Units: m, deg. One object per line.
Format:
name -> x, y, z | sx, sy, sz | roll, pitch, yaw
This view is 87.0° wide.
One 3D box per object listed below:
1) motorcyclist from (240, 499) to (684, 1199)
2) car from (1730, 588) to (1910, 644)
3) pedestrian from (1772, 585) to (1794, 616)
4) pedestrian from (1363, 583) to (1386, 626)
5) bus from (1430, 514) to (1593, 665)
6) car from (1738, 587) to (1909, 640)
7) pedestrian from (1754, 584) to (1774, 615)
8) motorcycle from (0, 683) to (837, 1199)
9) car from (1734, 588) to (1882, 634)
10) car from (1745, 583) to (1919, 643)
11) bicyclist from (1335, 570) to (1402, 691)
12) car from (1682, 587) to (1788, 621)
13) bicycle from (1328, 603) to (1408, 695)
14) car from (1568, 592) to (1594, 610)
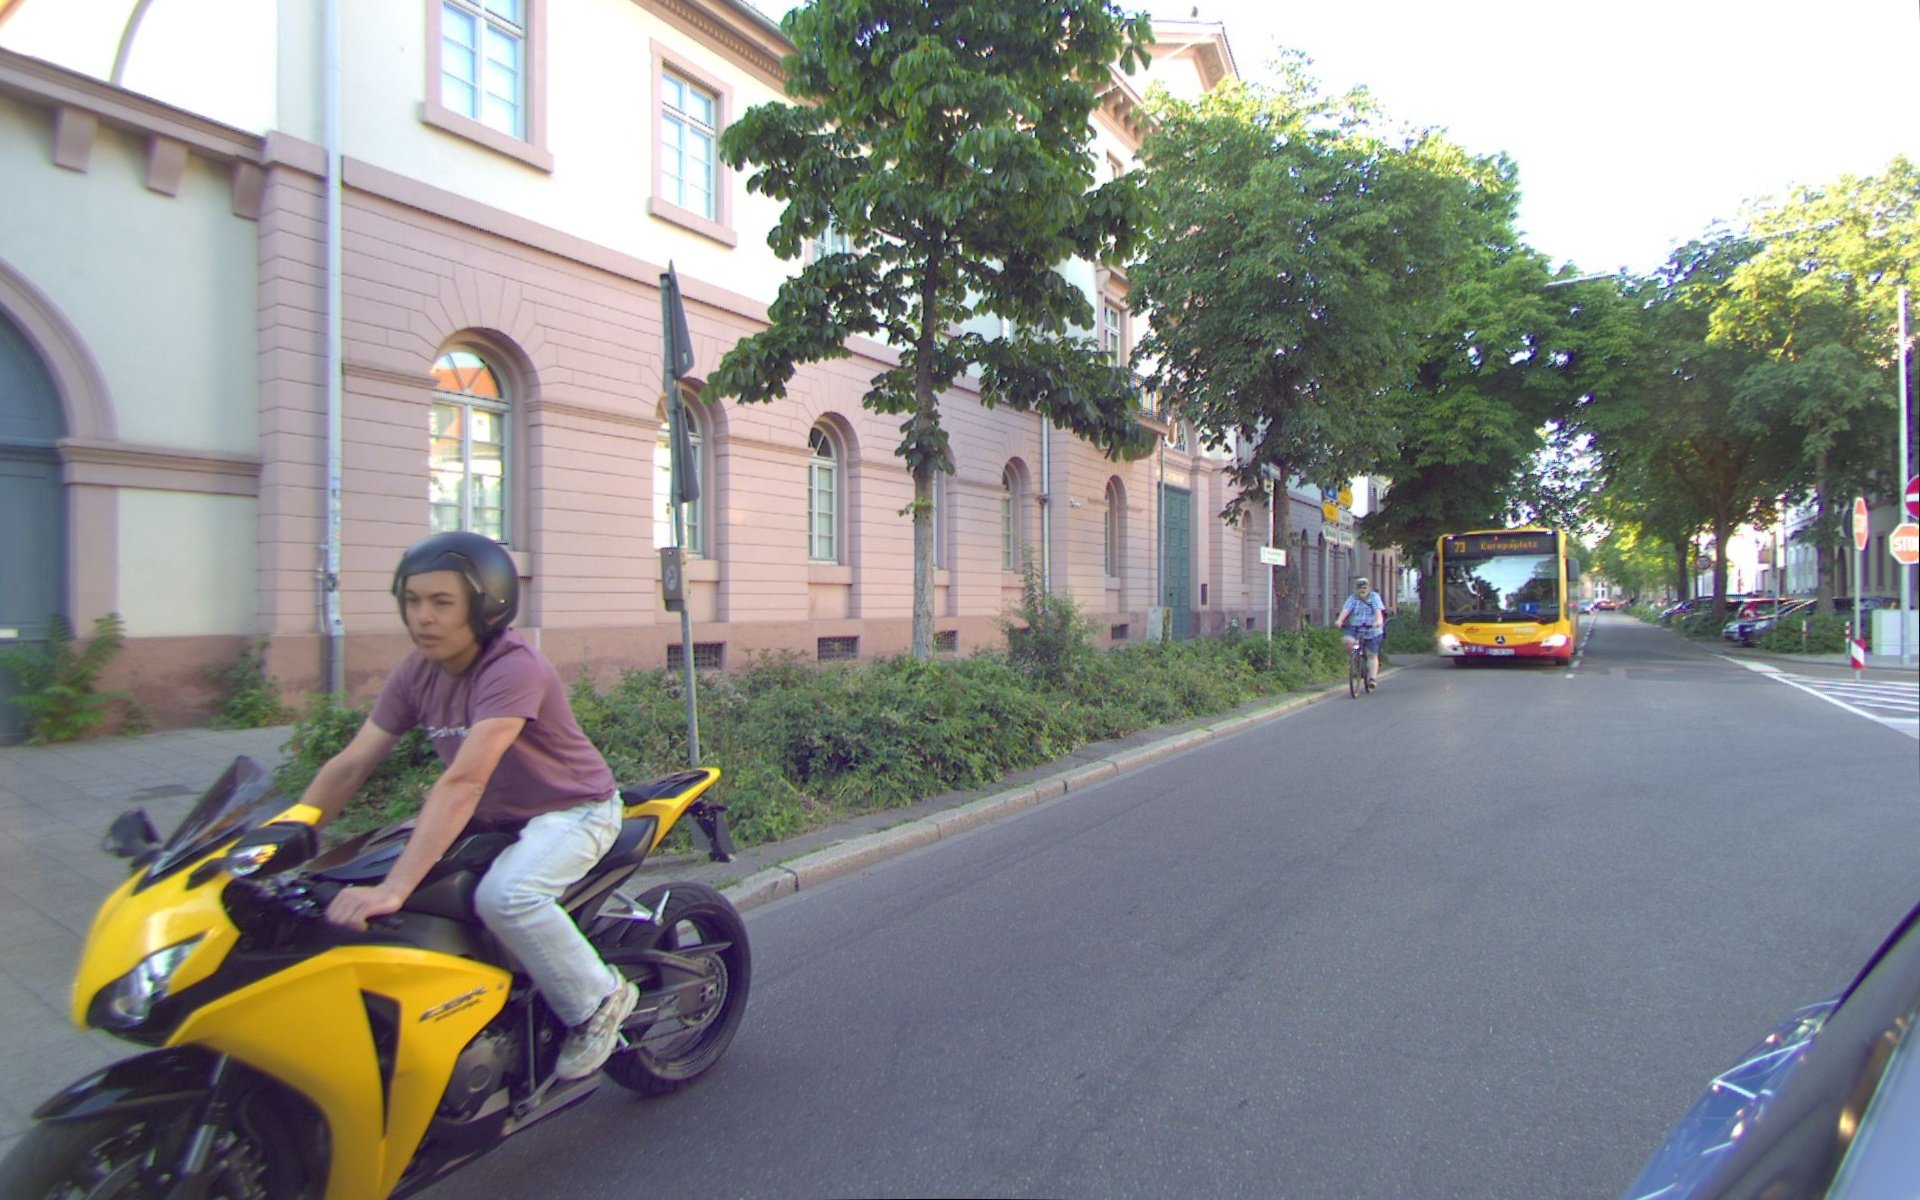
motorcyclist -> -1.250, 0.520, 2.579 | 0.787, 1.438, 0.691 | -2, -1, 30
car -> 26.375, 0.456, 31.215 | 3.969, 1.635, 1.704 | 0, 0, 32
pedestrian -> 48.291, 0.049, 59.387 | 0.888, 1.793, 1.010 | 0, 0, 32
pedestrian -> 18.418, 0.197, 44.962 | 0.794, 1.855, 0.919 | 0, 0, 31
bus -> 14.584, -0.196, 26.141 | 2.693, 3.039, 11.938 | -2, -1, 33
car -> 28.014, 0.417, 33.009 | 3.969, 1.635, 1.704 | 0, 0, 32
pedestrian -> 47.573, -0.015, 59.854 | 0.801, 1.793, 1.010 | 0, 0, 32
motorcycle -> -1.223, 0.882, 2.601 | 0.786, 1.175, 1.946 | -2, -1, 30
car -> 31.514, 0.387, 37.765 | 3.969, 1.635, 1.704 | 0, 0, 32
car -> 25.241, 0.355, 29.123 | 3.969, 1.635, 1.808 | 0, 0, 32
bicyclist -> 6.516, 0.481, 16.142 | 0.778, 1.863, 0.817 | -3, -2, 33
car -> 38.197, 0.196, 49.991 | 3.969, 1.635, 1.704 | 0, 0, 32
bicycle -> 6.529, 0.744, 16.139 | 0.778, 1.347, 2.053 | -3, -1, 33
car -> 63.933, 0.087, 104.151 | 2.069, 1.719, 3.951 | 0, 0, 34
